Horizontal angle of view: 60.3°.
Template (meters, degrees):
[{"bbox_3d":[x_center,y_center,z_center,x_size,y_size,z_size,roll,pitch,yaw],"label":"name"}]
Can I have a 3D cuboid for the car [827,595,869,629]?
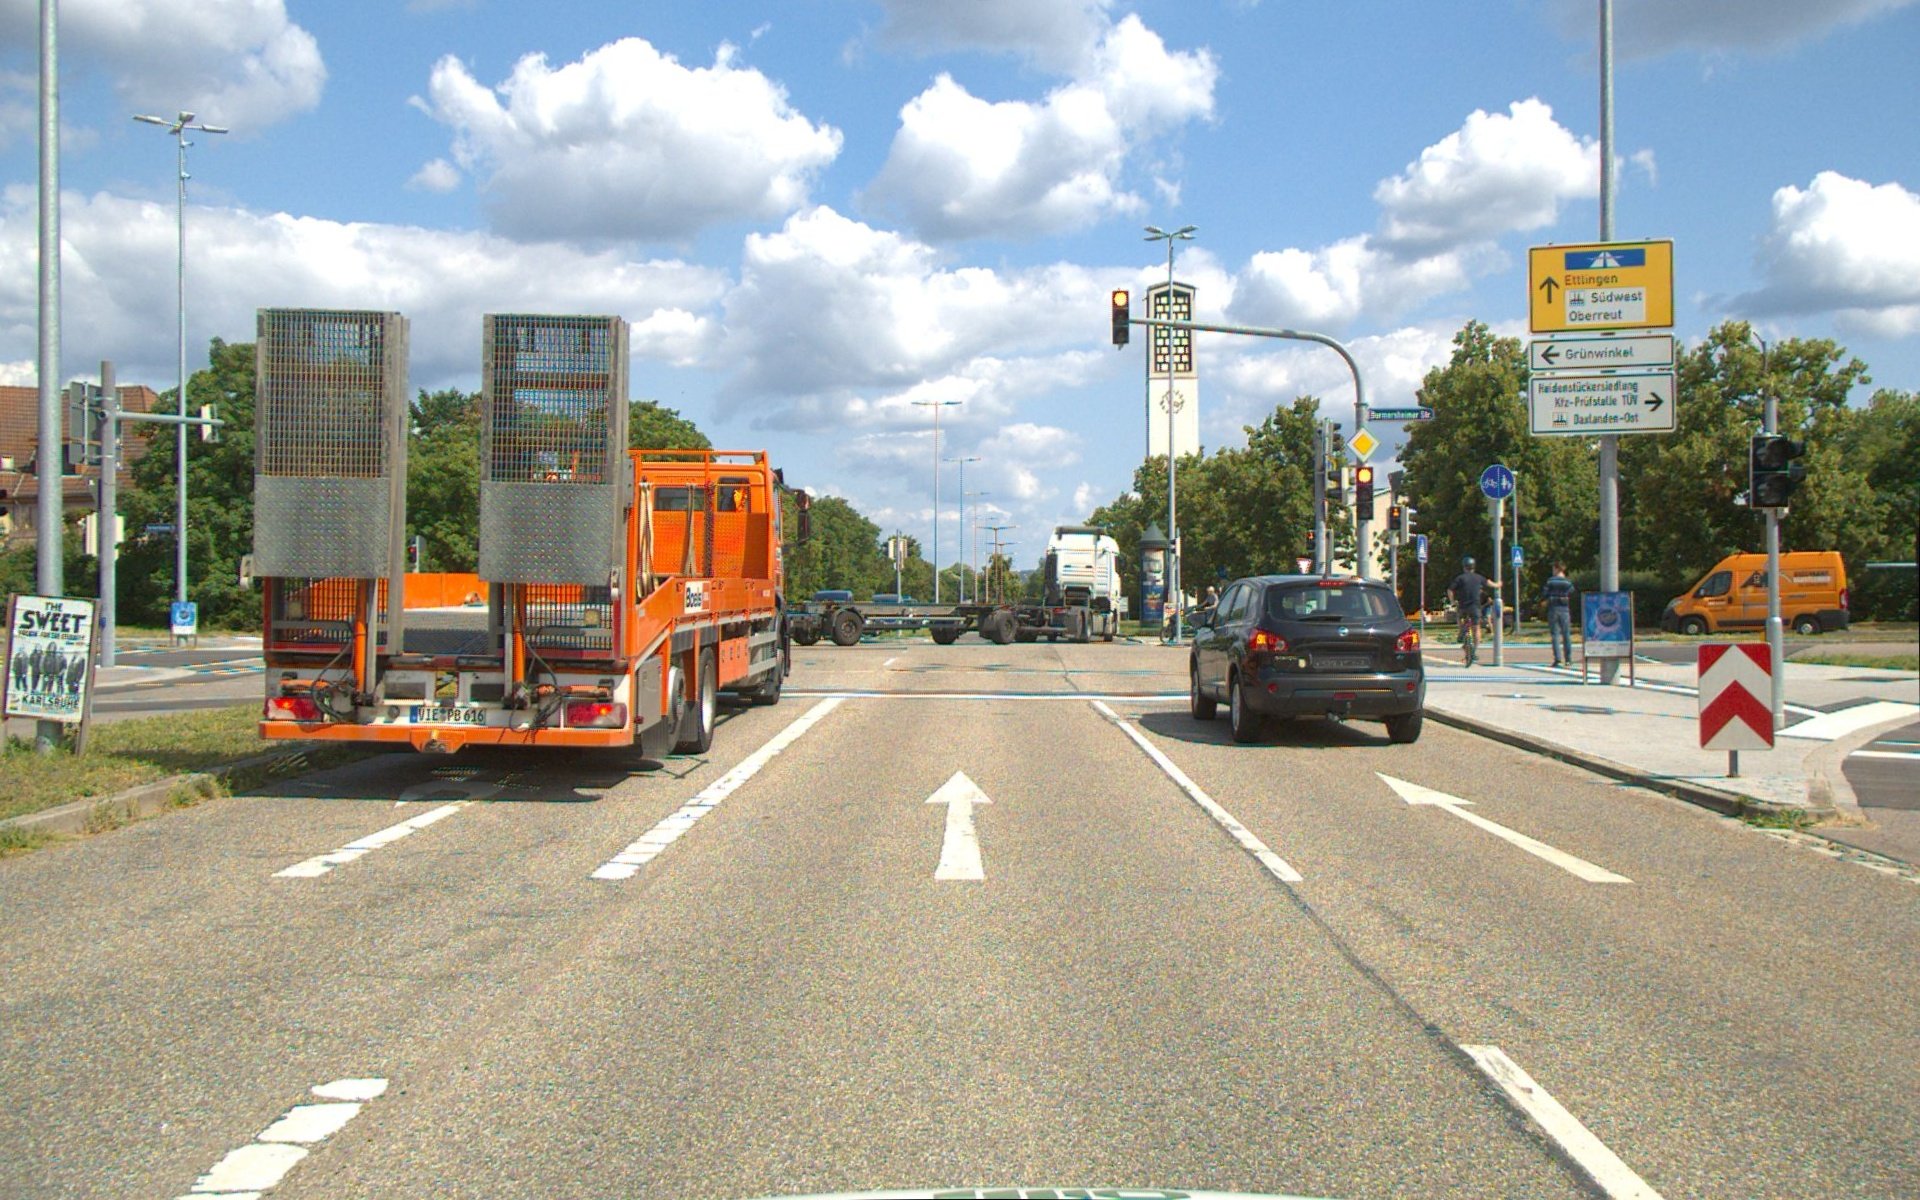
[{"bbox_3d":[-4.593,0.505,68.172,1.536,1.339,3.431,1,-1,-1],"label":"car"}]

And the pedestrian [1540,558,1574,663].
[{"bbox_3d":[10.470,0.190,29.001,0.454,1.810,0.482,1,-1,10],"label":"pedestrian"}]

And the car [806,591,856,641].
[{"bbox_3d":[-4.653,0.577,60.157,1.700,1.689,4.228,2,-1,-4],"label":"car"}]

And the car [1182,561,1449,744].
[{"bbox_3d":[3.442,0.486,16.746,1.763,1.579,3.999,1,-1,-1],"label":"car"}]

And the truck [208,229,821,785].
[{"bbox_3d":[-3.300,-0.544,16.101,3.008,3.474,11.066,1,-1,-1],"label":"truck"}]

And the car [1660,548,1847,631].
[{"bbox_3d":[23.057,-0.305,48.066,4.753,2.265,2.207,1,-1,30],"label":"car"}]

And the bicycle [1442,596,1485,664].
[{"bbox_3d":[8.835,0.524,29.063,0.634,1.127,1.929,1,-1,15],"label":"bicycle"}]

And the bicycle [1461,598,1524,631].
[{"bbox_3d":[18.236,0.487,56.654,1.955,1.113,0.686,0,0,2],"label":"bicycle"}]

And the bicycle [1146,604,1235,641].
[{"bbox_3d":[7.280,0.695,52.164,2.794,1.131,0.792,0,0,-23],"label":"bicycle"}]

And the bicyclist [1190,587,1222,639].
[{"bbox_3d":[7.786,0.399,52.374,0.689,1.644,0.792,0,0,-22],"label":"bicyclist"}]

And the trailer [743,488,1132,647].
[{"bbox_3d":[-0.412,-0.911,47.343,11.197,4.082,3.585,-1,0,-37],"label":"trailer"}]

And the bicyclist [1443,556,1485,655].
[{"bbox_3d":[8.796,0.103,28.880,0.634,1.690,0.650,1,-1,15],"label":"bicyclist"}]

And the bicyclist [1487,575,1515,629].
[{"bbox_3d":[18.526,0.053,56.640,0.770,1.836,0.686,0,-1,2],"label":"bicyclist"}]

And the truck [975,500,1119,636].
[{"bbox_3d":[3.000,-0.962,54.159,2.896,4.040,8.644,-1,0,15],"label":"truck"}]
